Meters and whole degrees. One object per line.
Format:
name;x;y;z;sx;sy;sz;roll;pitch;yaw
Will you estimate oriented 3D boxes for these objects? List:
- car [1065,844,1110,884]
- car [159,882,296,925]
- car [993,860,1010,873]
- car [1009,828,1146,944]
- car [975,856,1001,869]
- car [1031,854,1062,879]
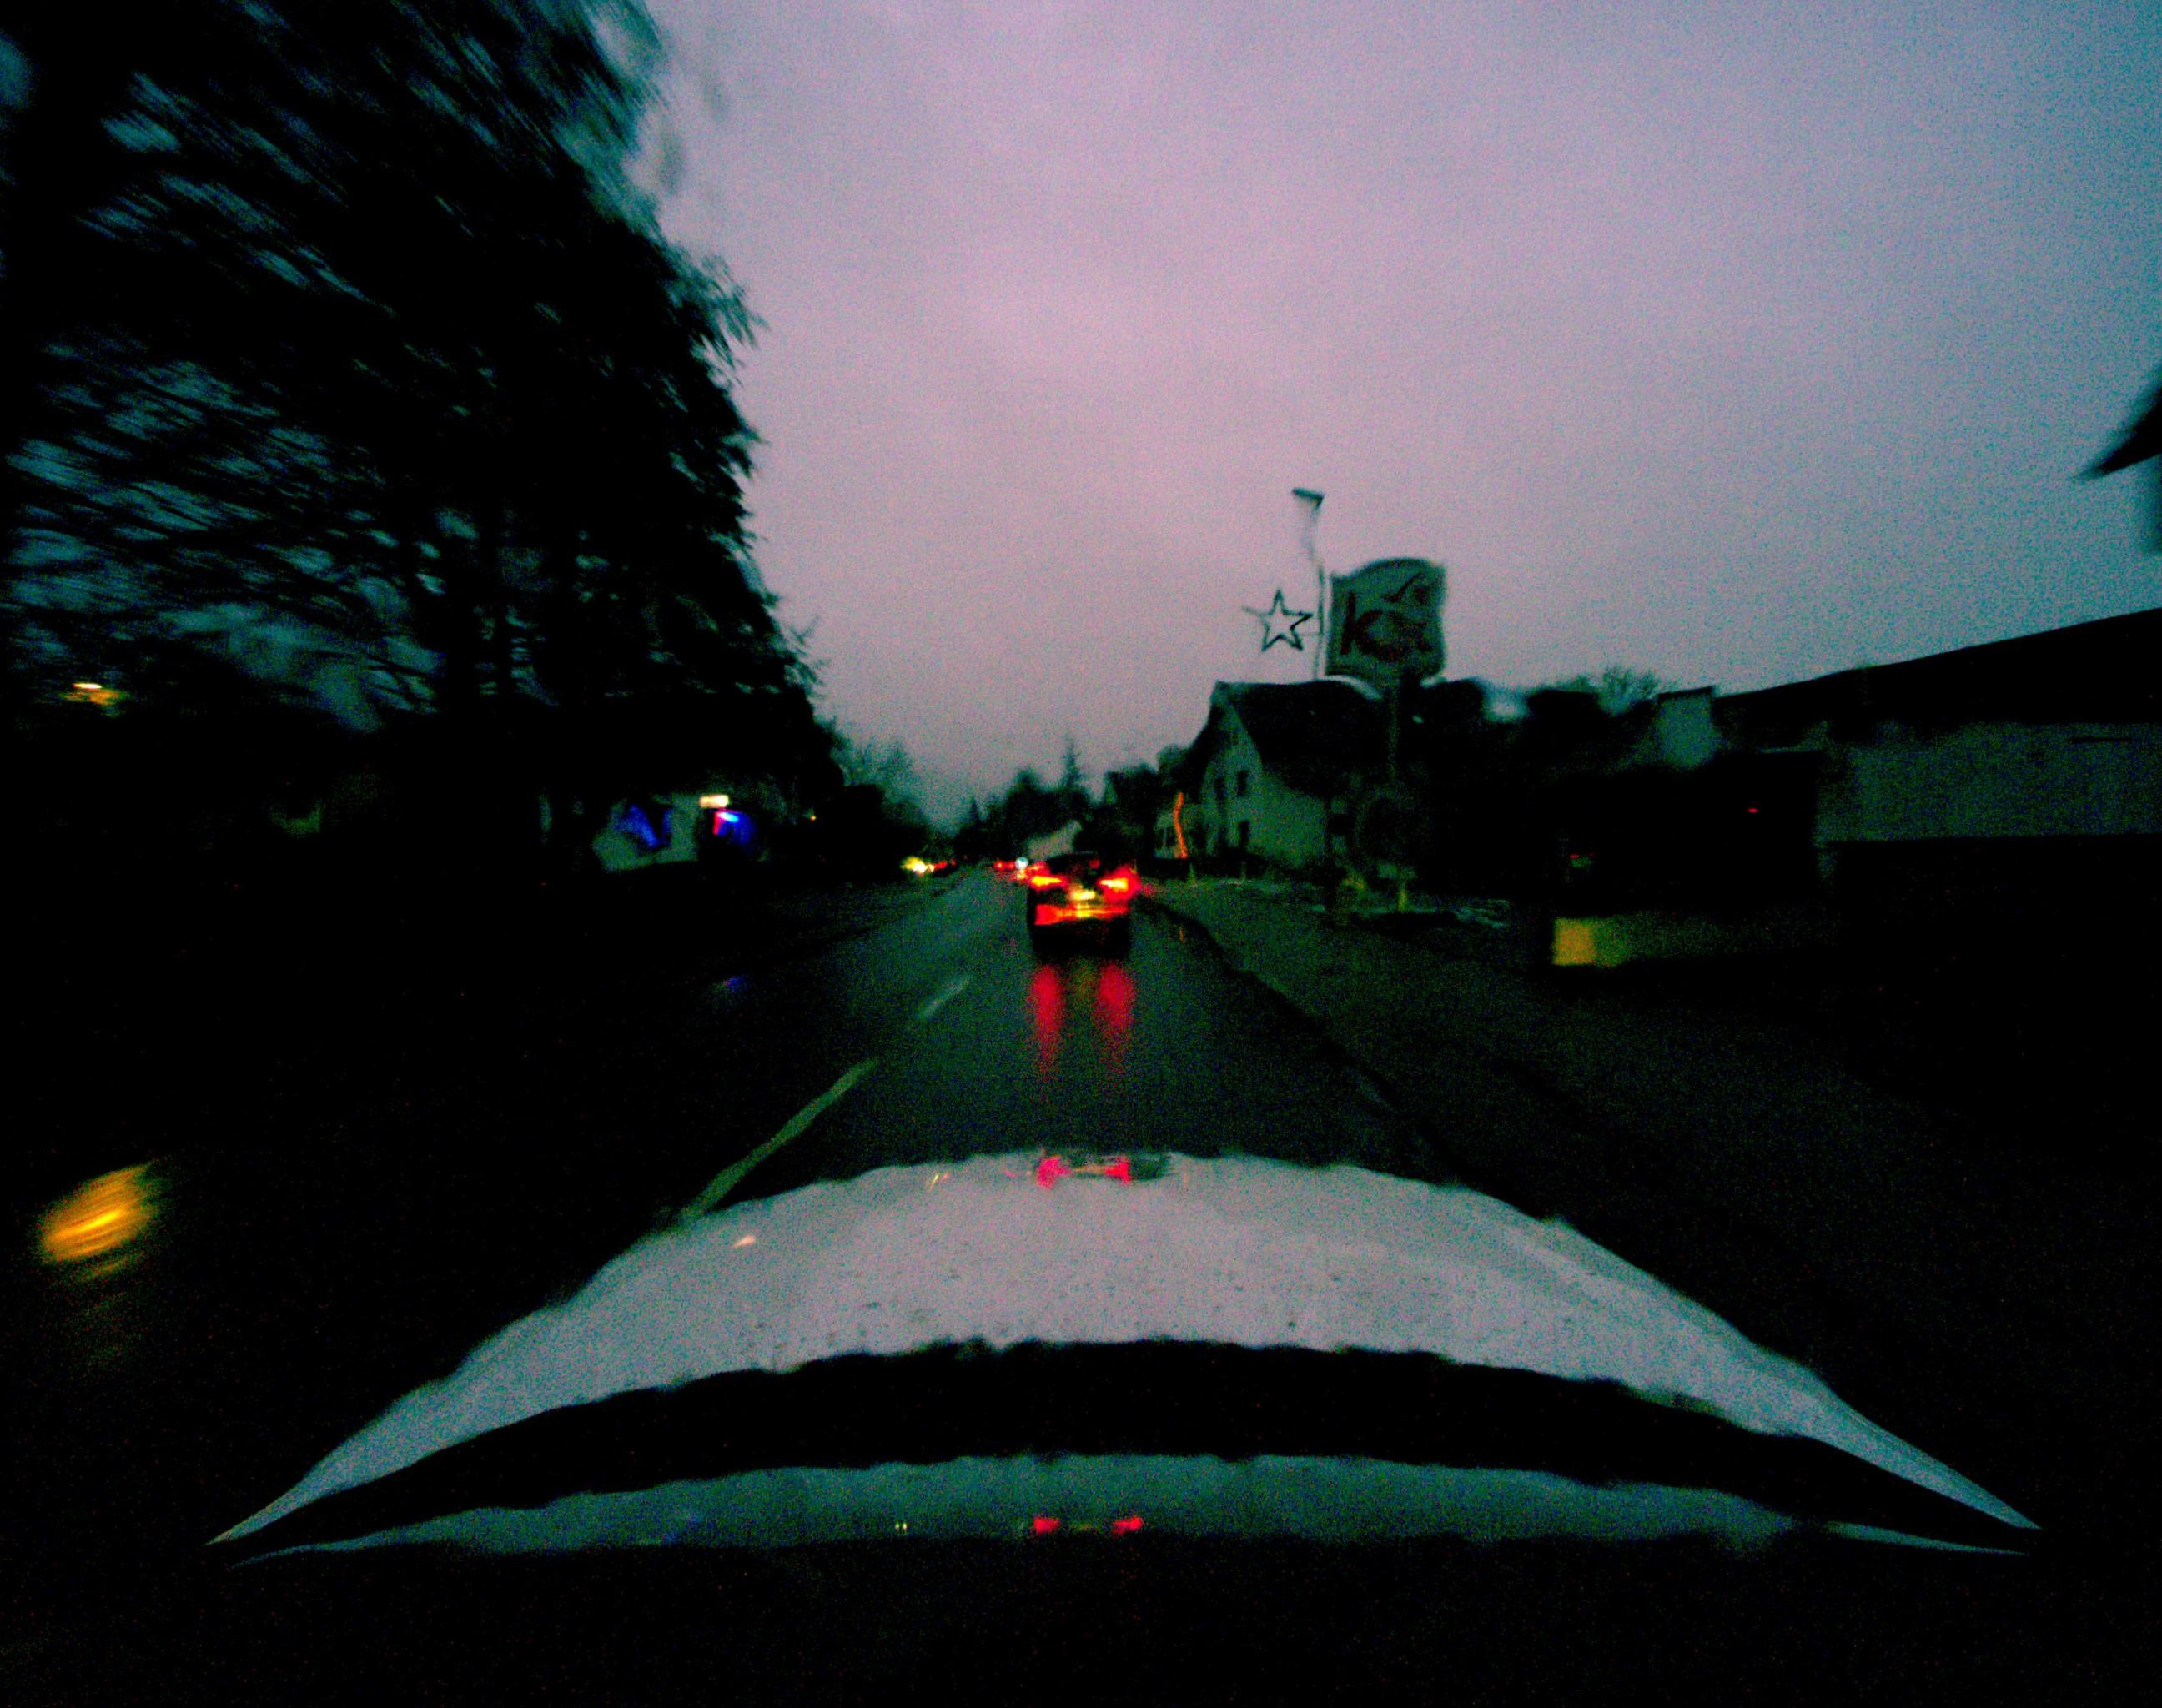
car;0.283;0.421;36.000;1.851;1.647;4.000;-1;0;0
car;-30.728;1.753;29.458;1.430;1.333;3.370;2;-1;-4
car;-9.254;1.461;95.147;1.841;1.331;3.928;-2;0;-7
car;-0.028;0.580;16.626;2.302;1.938;5.018;-2;-1;1
car;-15.682;1.432;137.192;4.250;2.013;1.803;-2;0;-12
car;-3.004;1.074;69.844;2.306;1.938;5.009;-2;-1;-5
